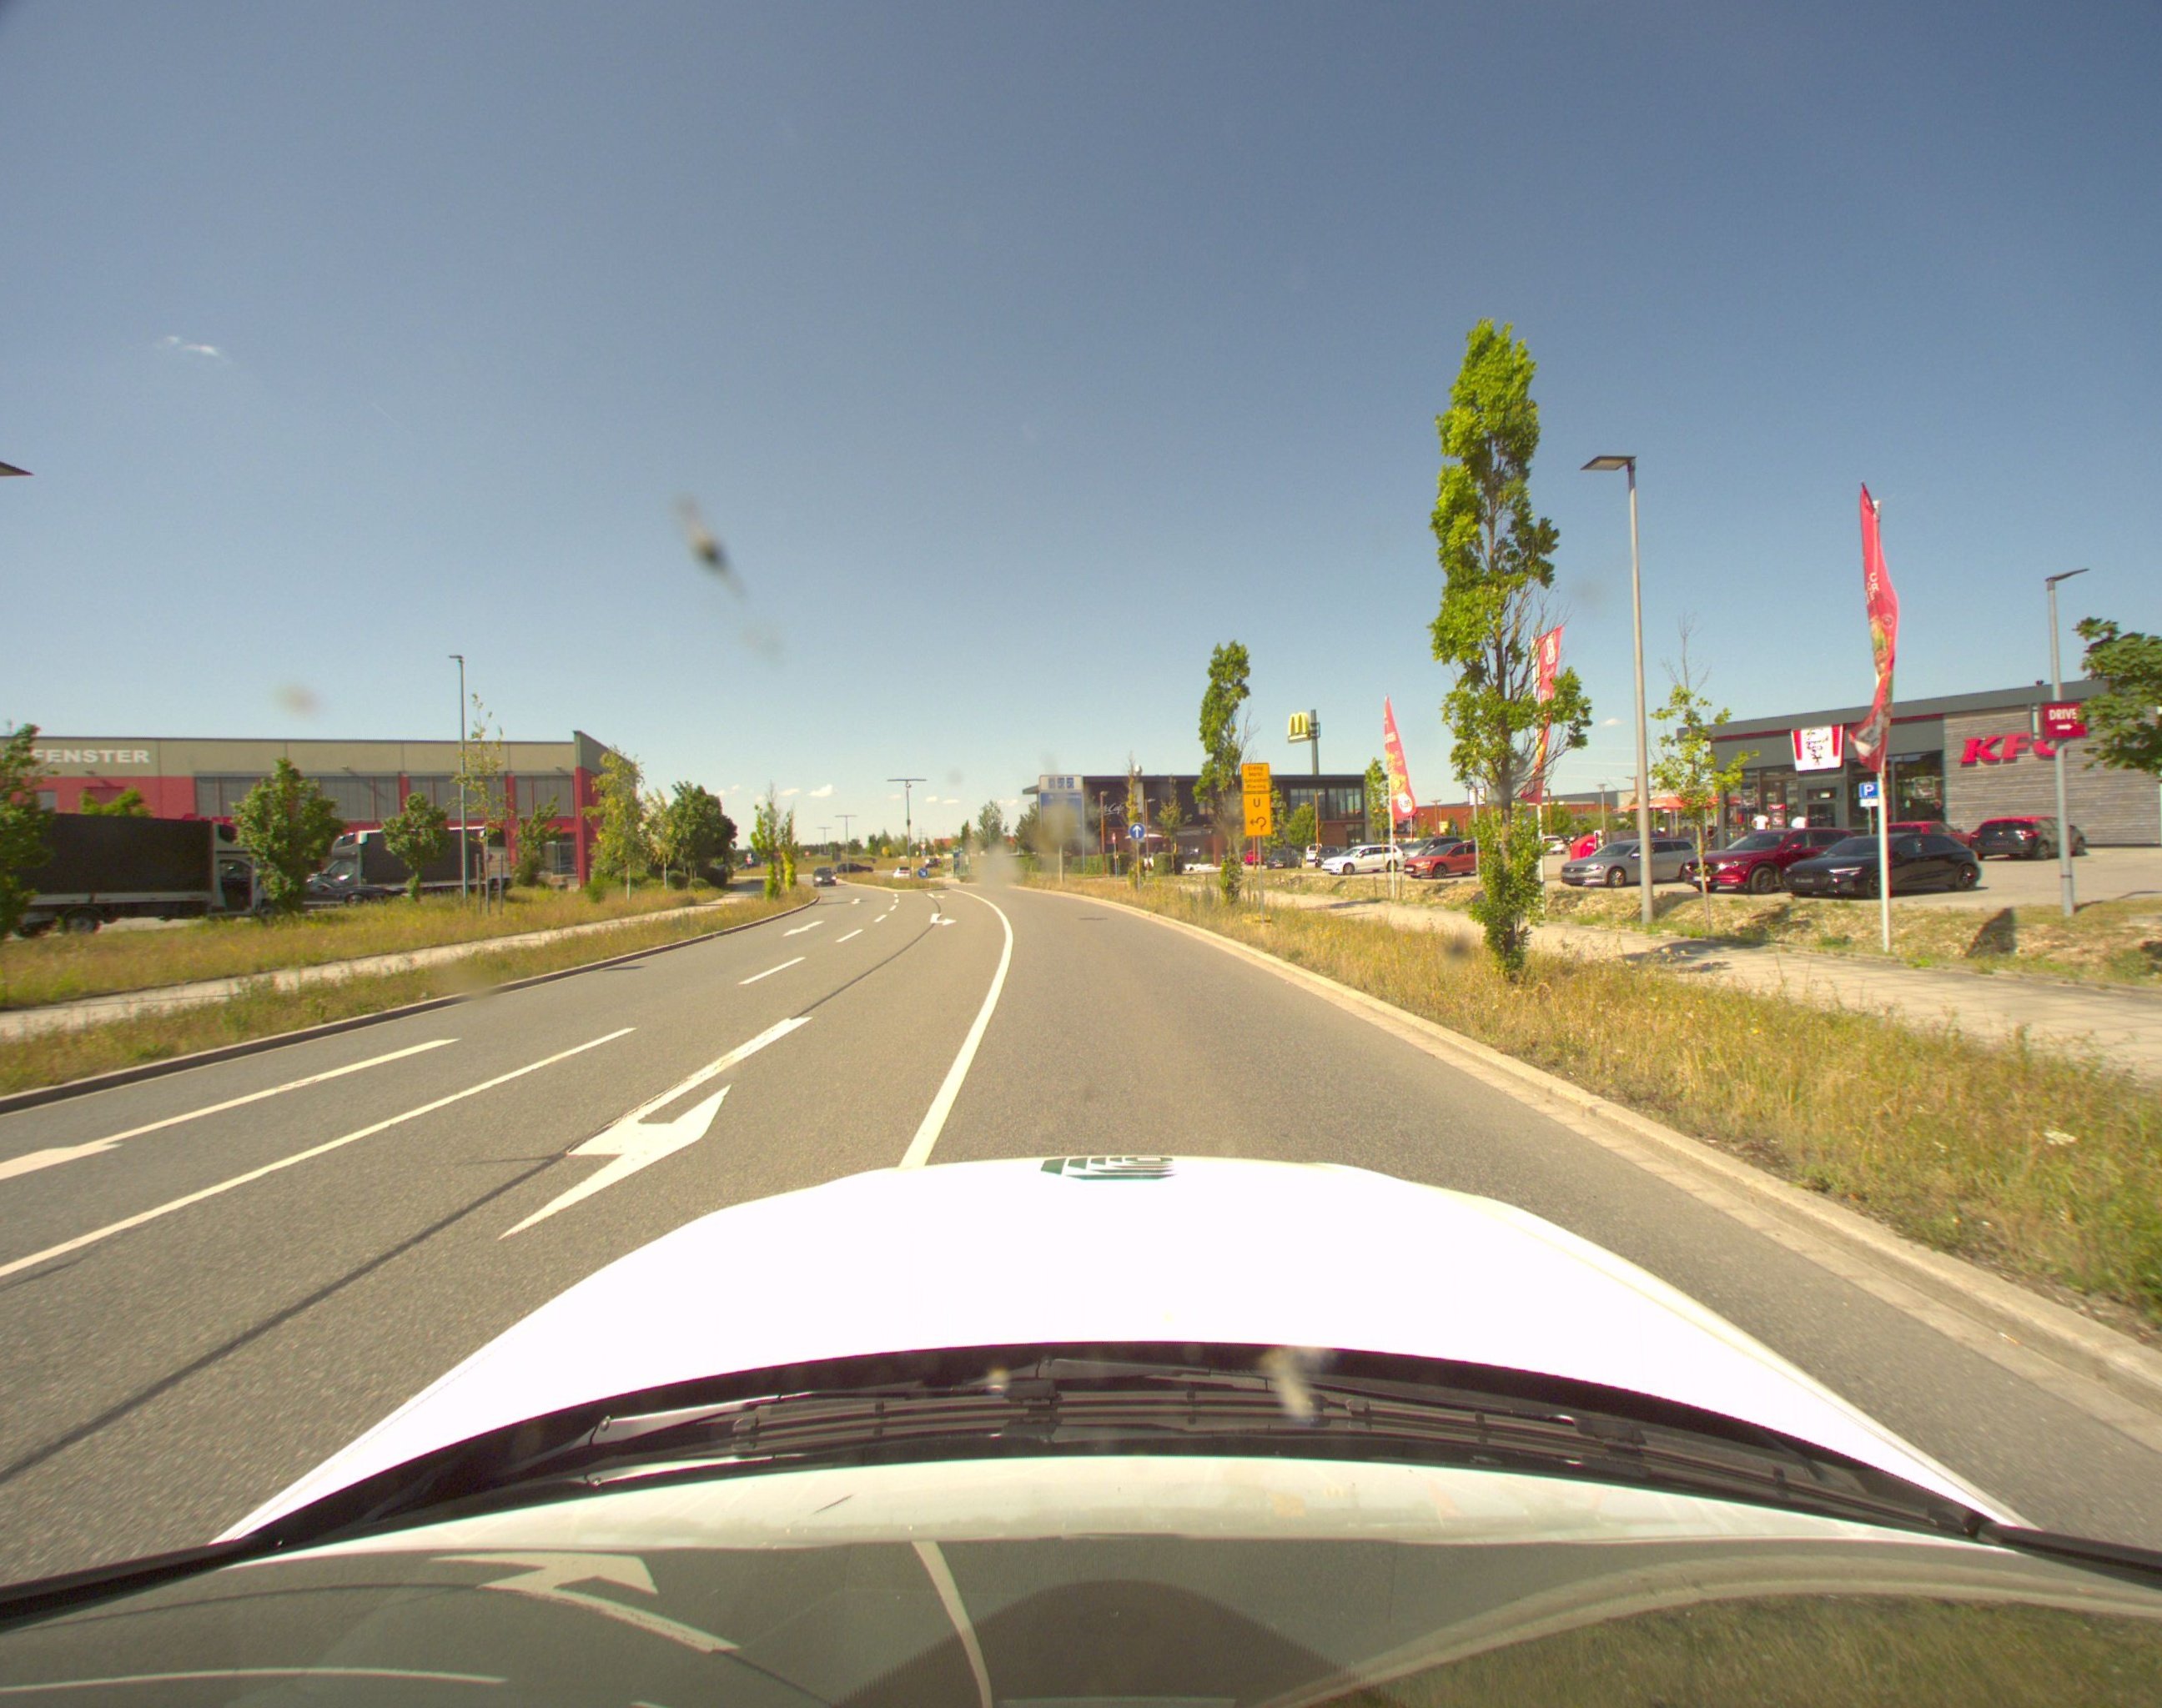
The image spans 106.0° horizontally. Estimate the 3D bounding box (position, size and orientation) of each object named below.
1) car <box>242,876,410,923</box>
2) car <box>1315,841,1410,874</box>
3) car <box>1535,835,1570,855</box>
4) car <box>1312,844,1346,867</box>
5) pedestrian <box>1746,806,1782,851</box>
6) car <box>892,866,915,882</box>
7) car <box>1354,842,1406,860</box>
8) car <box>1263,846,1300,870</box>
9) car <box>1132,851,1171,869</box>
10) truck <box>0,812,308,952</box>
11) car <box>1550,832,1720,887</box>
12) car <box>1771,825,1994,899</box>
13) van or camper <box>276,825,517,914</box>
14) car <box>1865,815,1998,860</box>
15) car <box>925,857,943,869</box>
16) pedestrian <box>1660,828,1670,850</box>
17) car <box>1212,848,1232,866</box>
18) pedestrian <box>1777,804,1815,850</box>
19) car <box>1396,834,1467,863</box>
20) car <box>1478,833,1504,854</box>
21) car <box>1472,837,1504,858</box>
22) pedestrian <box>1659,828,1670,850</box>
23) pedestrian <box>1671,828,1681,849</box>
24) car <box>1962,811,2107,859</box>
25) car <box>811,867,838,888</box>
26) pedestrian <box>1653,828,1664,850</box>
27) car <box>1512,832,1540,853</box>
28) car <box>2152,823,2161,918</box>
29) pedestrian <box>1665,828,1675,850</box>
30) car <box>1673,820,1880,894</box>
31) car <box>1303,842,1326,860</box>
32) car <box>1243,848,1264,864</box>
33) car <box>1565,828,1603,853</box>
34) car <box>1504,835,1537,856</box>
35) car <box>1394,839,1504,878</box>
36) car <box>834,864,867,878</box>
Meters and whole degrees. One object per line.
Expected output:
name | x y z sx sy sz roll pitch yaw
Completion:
car | -29.317 1.723 31.781 4.377 1.552 1.828 -2 0 -16
car | 15.075 0.183 43.712 4.532 1.490 1.860 -3 0 -14
car | 36.462 -0.690 63.088 1.770 1.451 4.192 -3 0 23
car | 16.889 0.068 55.370 1.770 1.462 4.192 -3 0 23
pedestrian | 32.052 -1.192 38.240 0.915 2.013 0.886 -2 0 -17
car | -16.864 1.862 77.252 1.622 1.434 3.765 -2 0 -21
car | 25.527 -0.254 69.620 3.950 1.373 1.809 -3 0 26
car | 13.351 0.234 54.029 1.682 1.462 4.192 -3 0 23
car | 6.172 0.511 71.566 1.799 1.434 3.972 -3 0 -21
truck | -27.325 0.721 23.215 2.300 3.464 7.522 -2 0 14
car | 18.005 0.152 26.566 4.555 1.490 1.862 -3 0 -10
car | 19.019 0.170 19.391 4.157 1.449 1.784 -3 0 -12
van or camper | -29.915 0.624 35.985 7.706 3.468 2.542 -2 0 -15
car | 32.134 -0.621 30.771 4.572 1.431 1.855 -3 0 -21
car | -19.675 1.172 108.910 1.611 1.434 3.792 -2 0 1
pedestrian | 34.142 -0.884 47.621 0.381 1.240 0.290 -2 -1 -22
car | 13.523 0.231 78.125 1.781 1.604 4.012 -3 0 10
pedestrian | 32.539 -1.211 37.081 0.915 2.013 0.886 -2 0 -17
car | 22.646 -0.365 52.600 4.172 1.635 1.778 -2 0 -22
car | 36.920 -0.940 73.376 1.770 1.757 4.192 -3 0 23
car | 30.024 -0.495 60.192 1.770 1.451 4.192 -3 0 23
pedestrian | 33.587 -0.868 46.895 0.381 1.240 0.290 -2 -1 -22
pedestrian | 34.371 -0.893 47.055 0.381 1.240 0.290 -2 -1 -22
car | 33.096 -0.655 28.263 4.572 1.431 1.855 -3 0 -21
car | -23.604 2.119 74.943 1.959 1.794 4.394 -4 0 -22
pedestrian | 33.467 -0.864 47.189 0.381 1.240 0.290 -2 -1 -22
car | 40.682 -1.054 74.574 1.770 1.757 4.192 -3 0 23
car | 18.843 0.149 11.785 4.393 1.449 1.790 -3 0 -1
pedestrian | 34.249 -0.888 47.346 0.381 1.240 0.290 -2 -1 -22
car | 18.568 0.067 21.838 4.149 1.665 1.865 -3 0 -6
car | 23.435 -0.311 81.573 1.777 1.702 4.021 -3 0 21
car | 16.697 0.208 78.935 1.781 1.434 4.012 -3 0 10
car | 39.240 -1.041 63.627 1.770 1.757 4.192 -3 0 23
car | 33.373 -0.658 61.901 1.770 1.451 4.192 -3 0 23
car | 16.438 0.206 36.407 4.210 1.490 1.860 -3 0 -14
car | -28.380 2.102 100.139 3.799 1.517 1.761 -2 0 -20
